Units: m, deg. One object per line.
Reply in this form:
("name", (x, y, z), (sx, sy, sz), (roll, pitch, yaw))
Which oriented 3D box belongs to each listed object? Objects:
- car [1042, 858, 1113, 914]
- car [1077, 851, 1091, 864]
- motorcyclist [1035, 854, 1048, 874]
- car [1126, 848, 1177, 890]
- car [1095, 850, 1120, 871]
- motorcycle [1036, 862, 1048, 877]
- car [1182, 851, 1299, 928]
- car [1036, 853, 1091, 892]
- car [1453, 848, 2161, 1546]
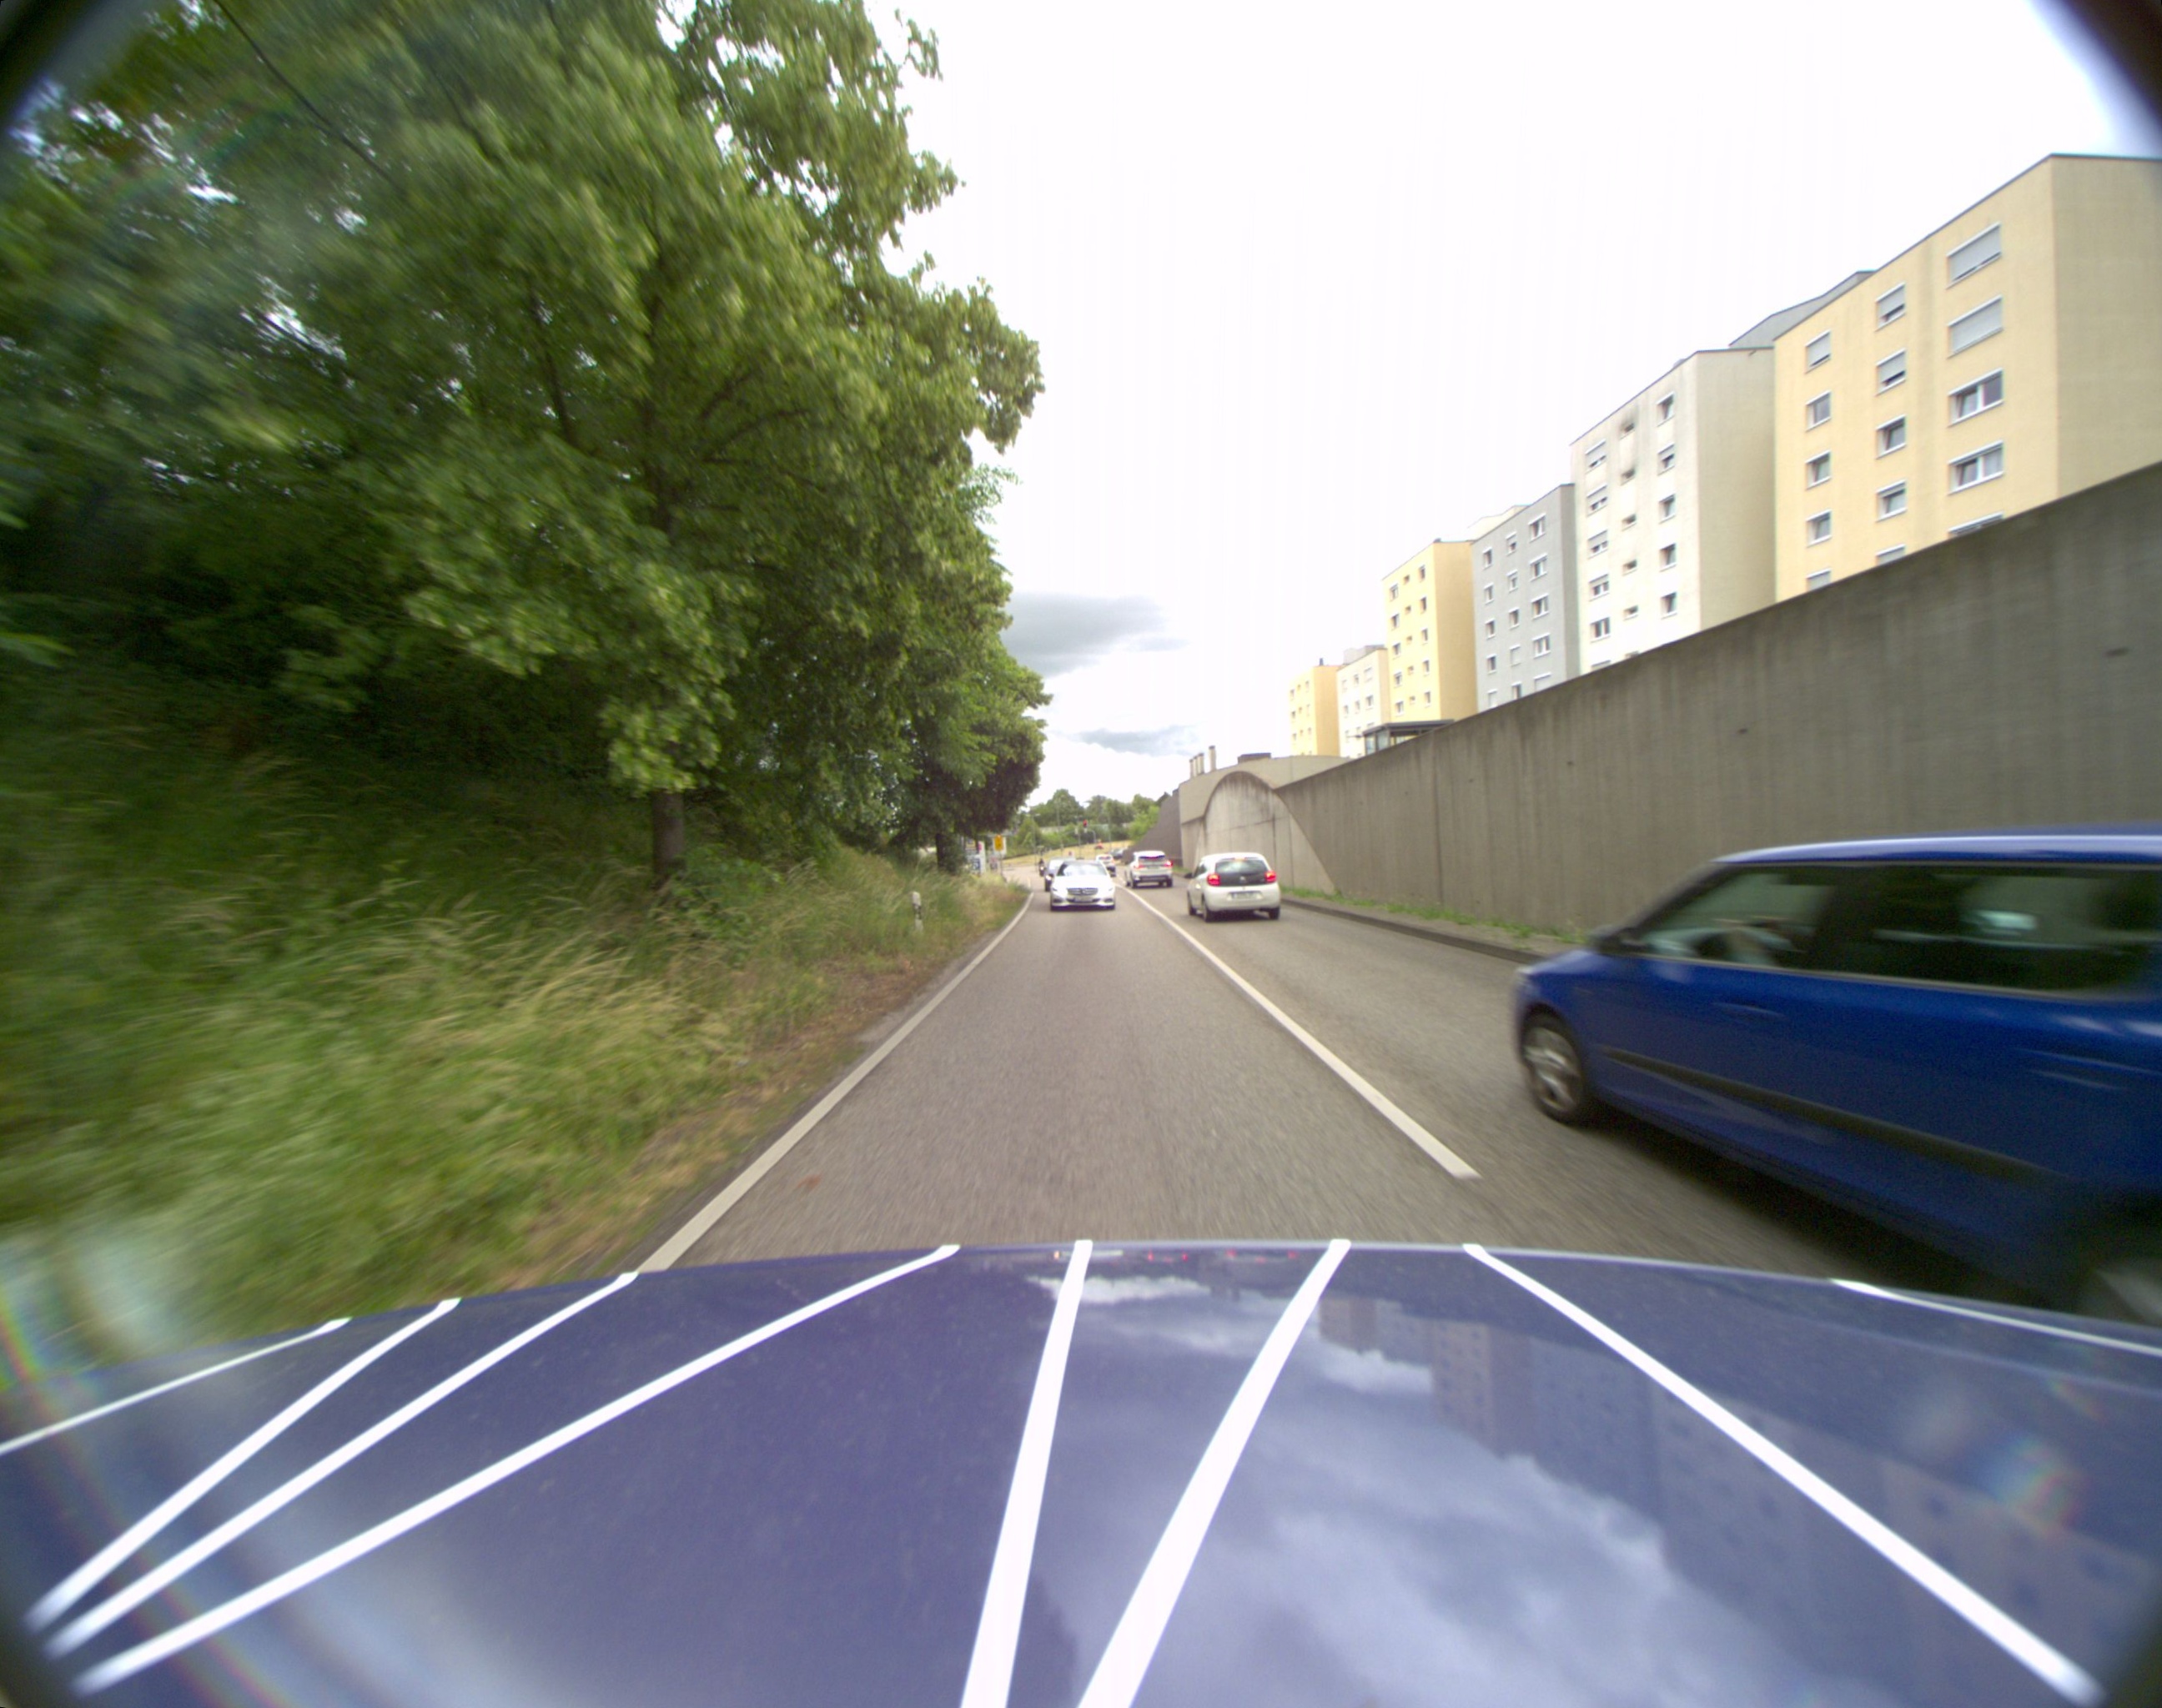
("car", (-0.015, 0.903, 23.186), (1.904, 1.471, 4.095), (-2, 0, 3))
("car", (0.345, 0.468, 96.735), (1.547, 1.514, 2.913), (-4, 1, -1))
("motorcyclist", (-3.382, 0.871, 65.216), (0.883, 1.596, 1.243), (-6, 2, -4))
("car", (3.169, 0.638, 34.953), (1.895, 1.623, 4.425), (-3, 1, 0))
("car", (2.293, 0.555, 66.306), (1.867, 1.622, 4.207), (-3, 0, -1))
("motorcycle", (-3.344, 1.312, 65.329), (0.883, 1.098, 2.359), (-6, 1, -5))
("car", (3.571, 0.730, 17.821), (1.920, 1.487, 4.208), (-3, 0, 2))
("car", (-0.901, 0.815, 35.650), (1.760, 1.532, 3.995), (-6, 2, -12))
("car", (3.283, 0.764, 2.764), (1.772, 1.487, 4.208), (-3, 0, 0))
